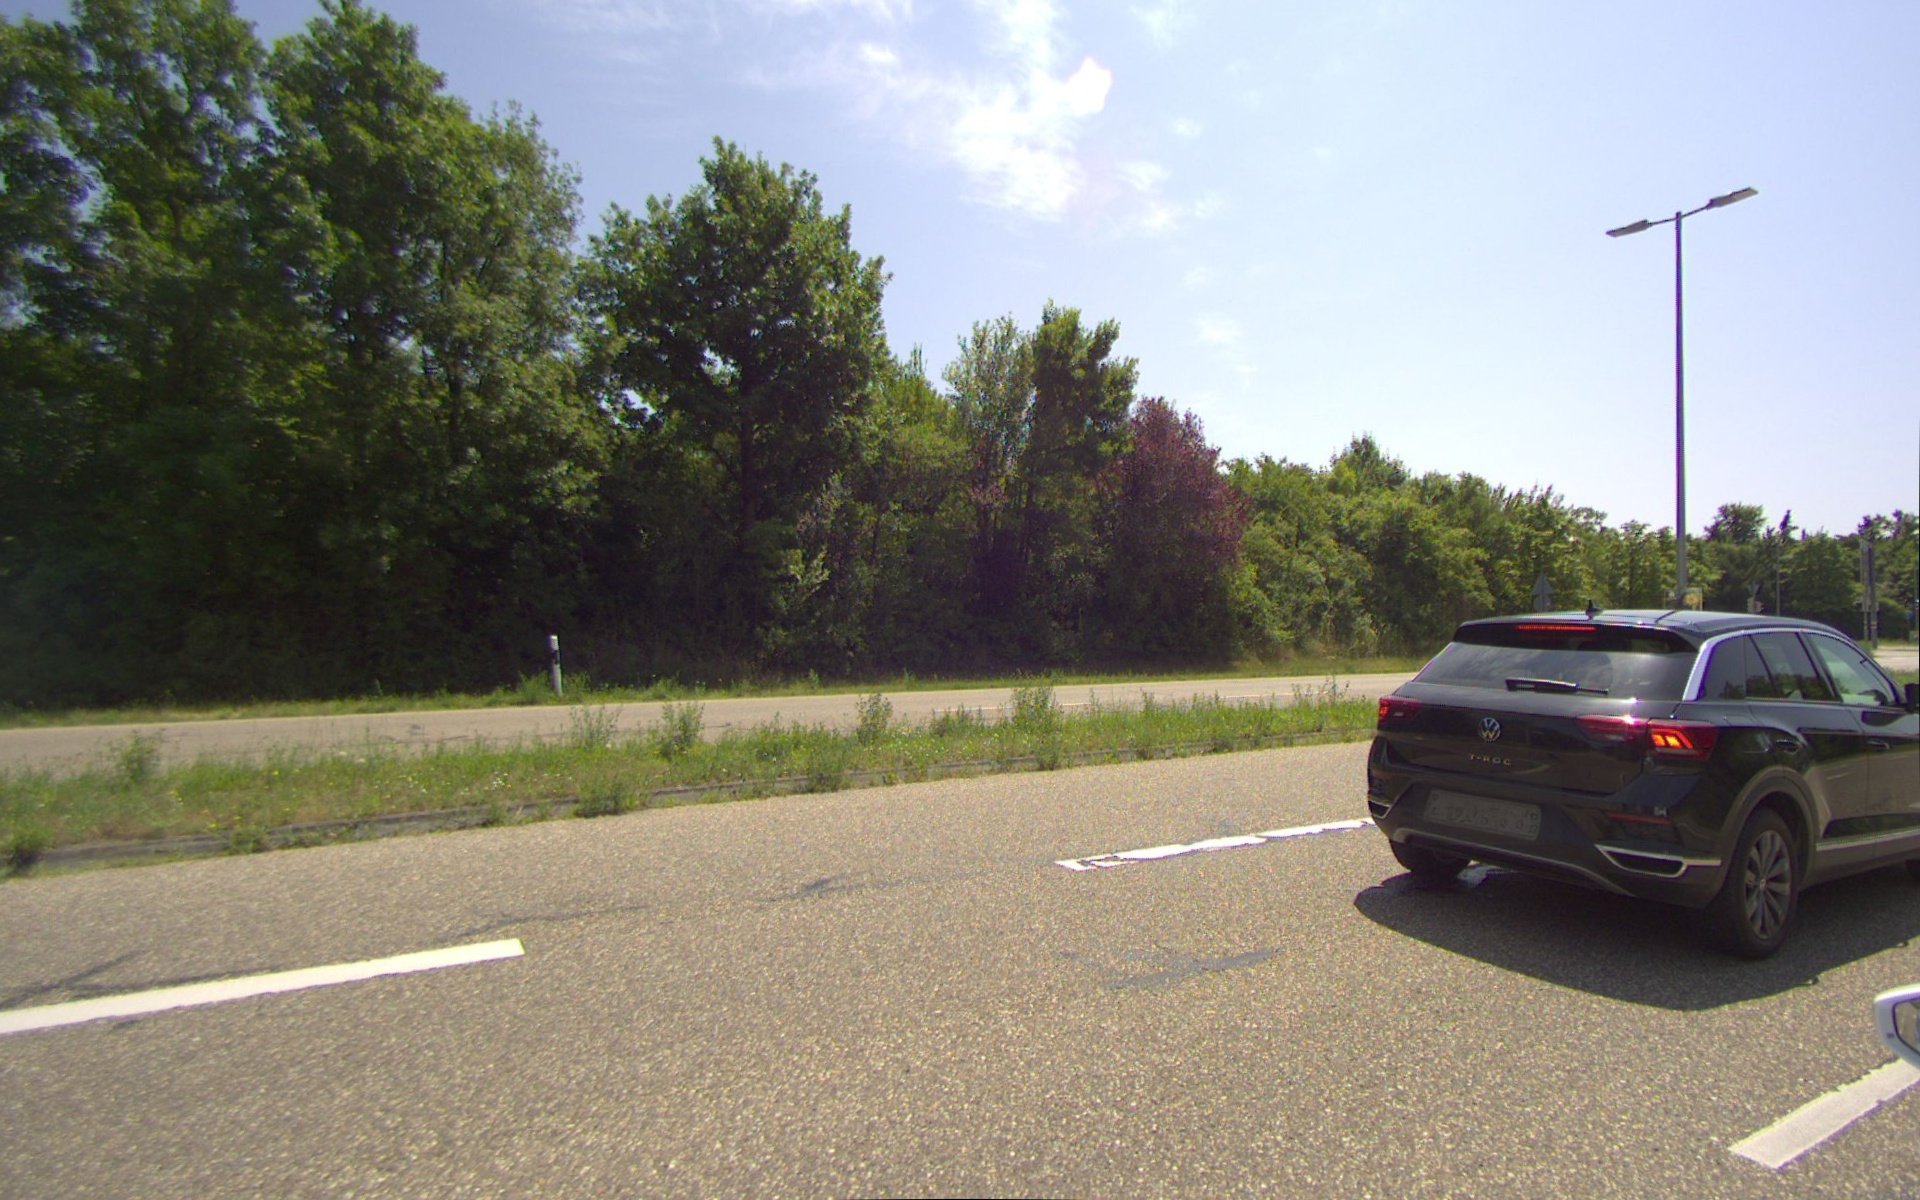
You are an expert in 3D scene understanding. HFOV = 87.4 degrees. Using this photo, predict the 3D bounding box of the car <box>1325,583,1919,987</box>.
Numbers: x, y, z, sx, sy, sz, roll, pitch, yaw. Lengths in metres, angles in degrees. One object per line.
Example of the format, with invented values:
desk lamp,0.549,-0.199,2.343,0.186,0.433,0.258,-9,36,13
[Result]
car,4.115,0.772,5.689,3.953,1.576,1.747,1,-1,-30

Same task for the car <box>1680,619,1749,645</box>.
car,57.670,2.425,76.793,1.985,1.855,3.951,1,-1,-42
